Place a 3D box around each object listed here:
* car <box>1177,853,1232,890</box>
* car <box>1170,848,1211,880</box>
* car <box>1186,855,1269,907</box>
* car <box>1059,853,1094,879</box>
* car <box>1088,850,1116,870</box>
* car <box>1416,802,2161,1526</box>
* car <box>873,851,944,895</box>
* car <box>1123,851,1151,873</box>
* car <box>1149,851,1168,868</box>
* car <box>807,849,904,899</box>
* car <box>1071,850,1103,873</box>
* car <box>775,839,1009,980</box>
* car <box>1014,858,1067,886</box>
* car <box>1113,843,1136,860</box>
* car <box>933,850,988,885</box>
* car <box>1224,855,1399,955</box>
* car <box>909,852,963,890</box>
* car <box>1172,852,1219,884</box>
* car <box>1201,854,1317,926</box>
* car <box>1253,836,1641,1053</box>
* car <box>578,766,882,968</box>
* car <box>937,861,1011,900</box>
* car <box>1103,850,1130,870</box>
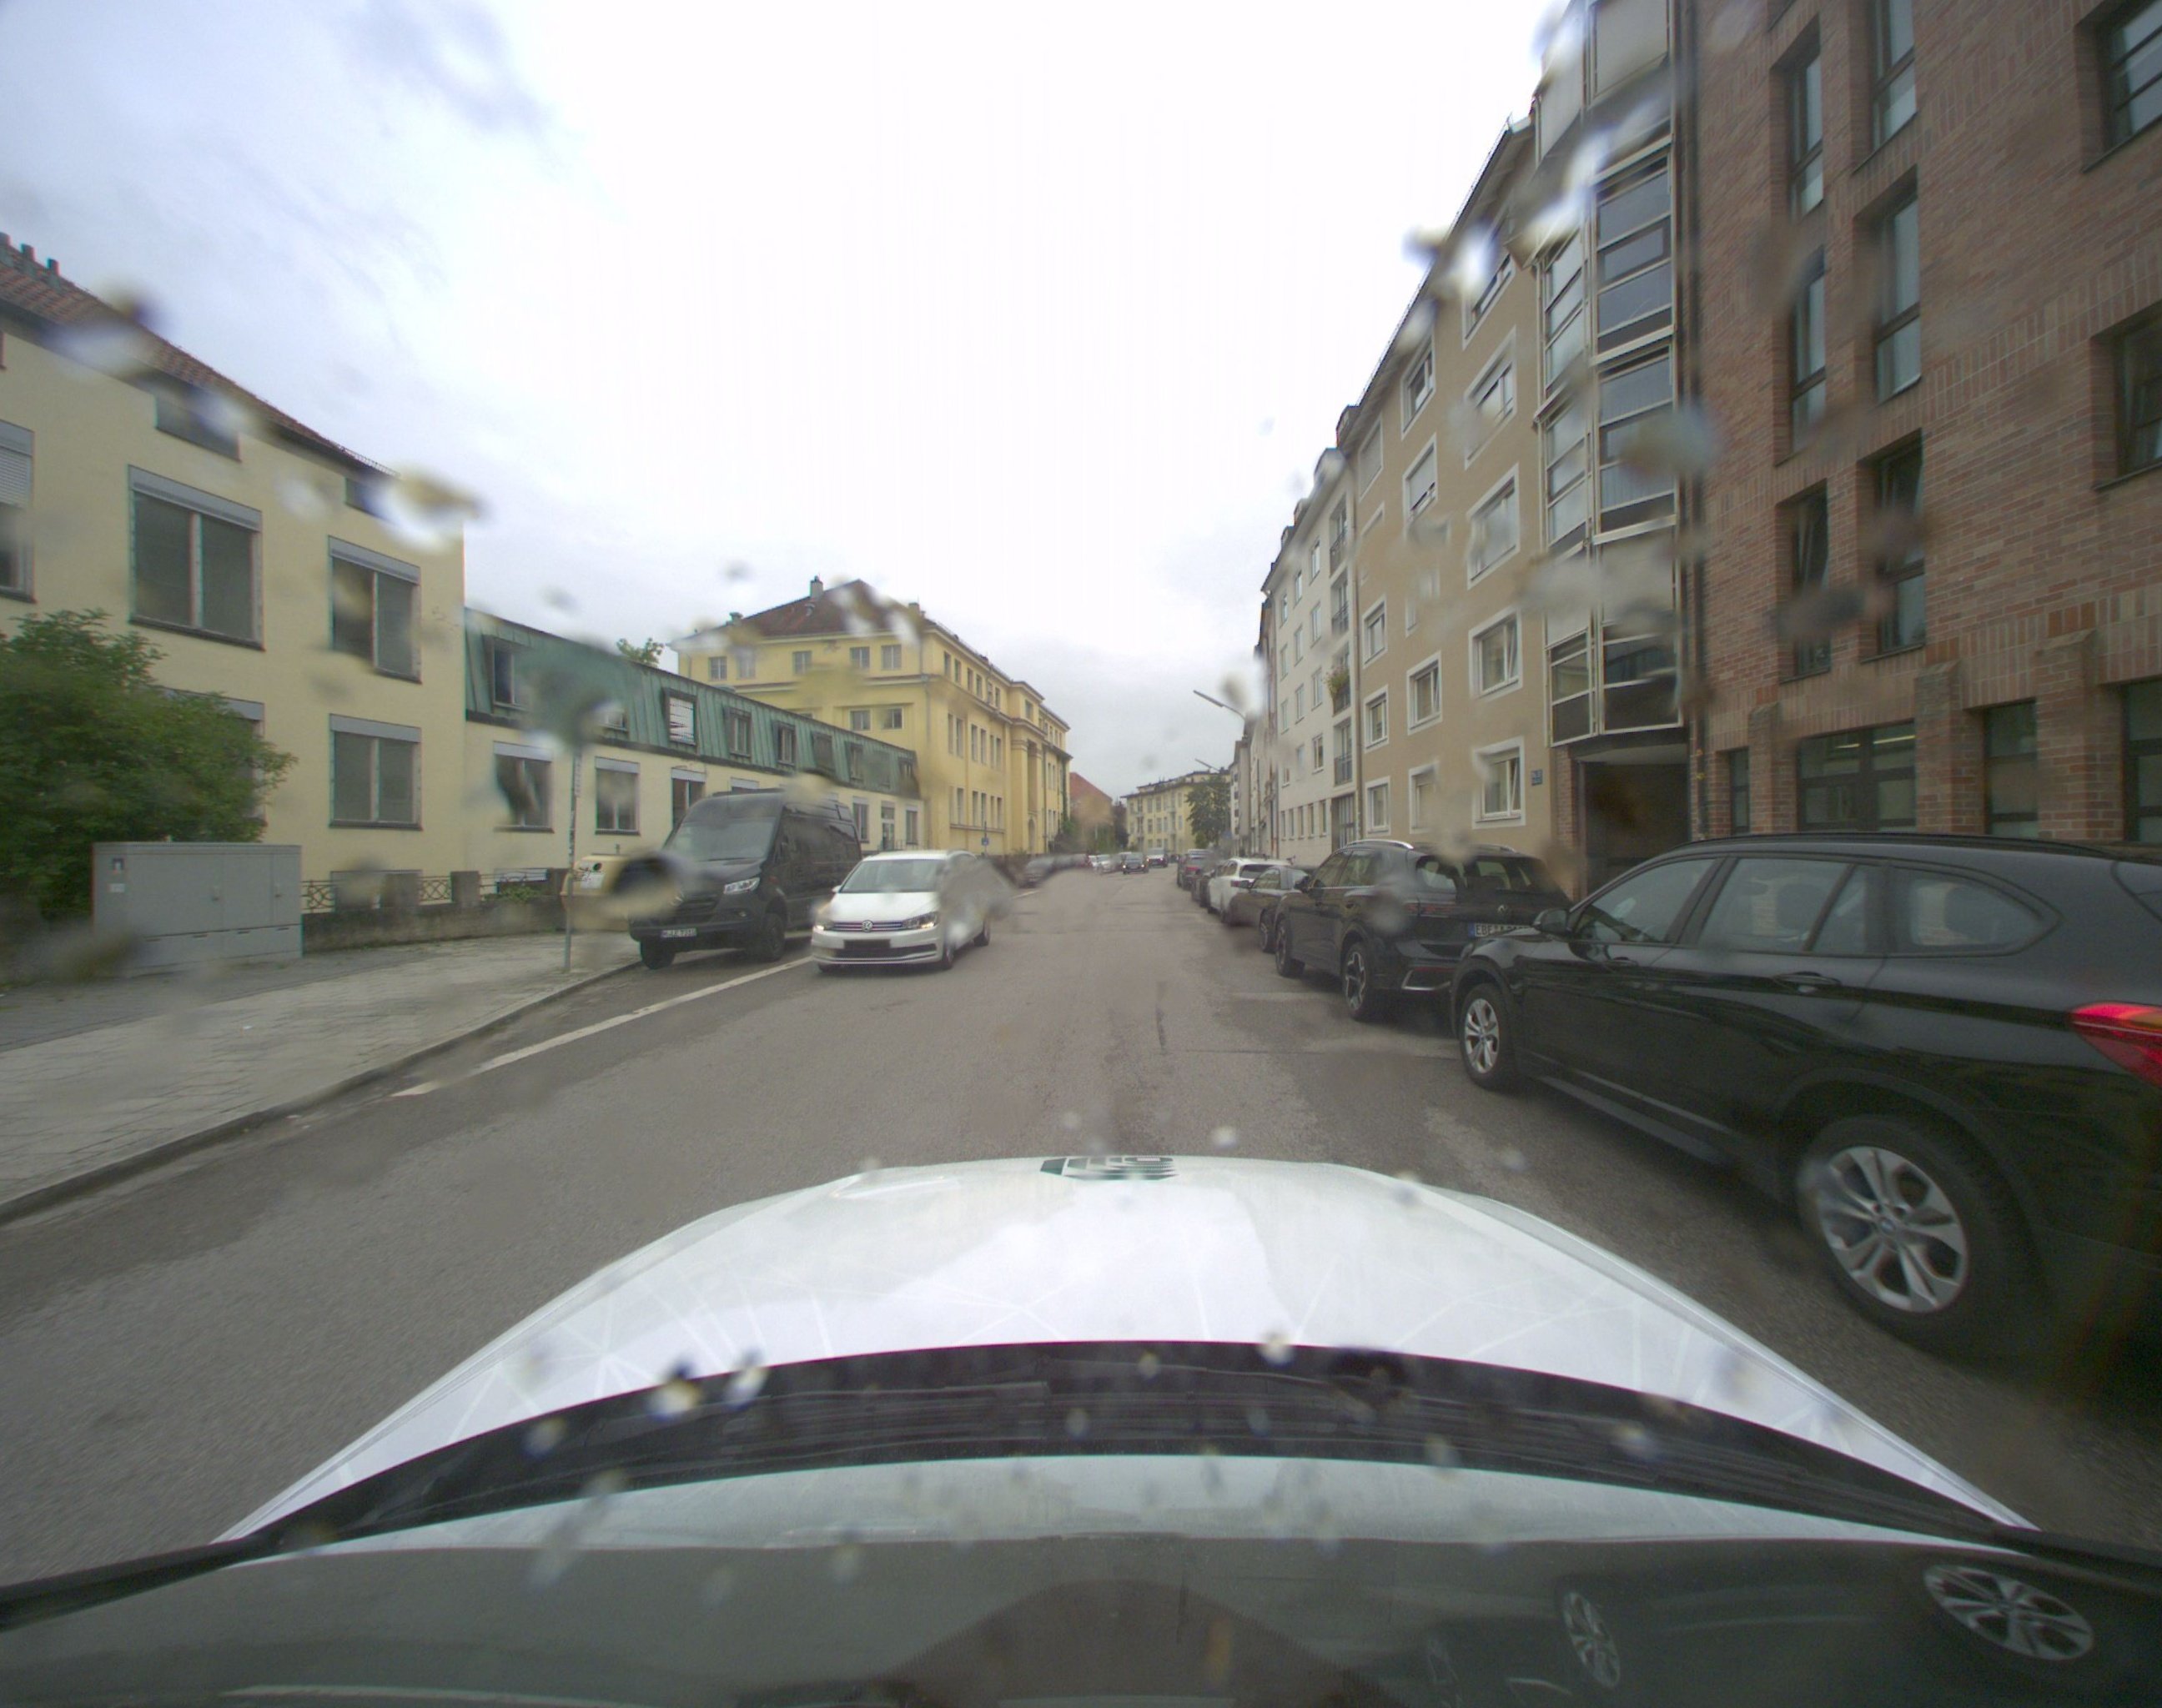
[{"bbox_3d":[5.032,0.671,33.701,1.879,1.410,4.435,1,0,3],"label":"car"},{"bbox_3d":[5.896,0.508,44.346,1.879,1.630,4.435,1,0,3],"label":"car"},{"bbox_3d":[4.370,0.753,24.852,1.880,1.410,4.433,1,0,2],"label":"car"},{"bbox_3d":[-0.250,0.687,50.128,1.688,1.444,3.516,1,1,7],"label":"car"},{"bbox_3d":[1.648,0.452,63.078,1.688,1.444,3.517,1,1,8],"label":"car"},{"bbox_3d":[3.331,0.649,3.772,1.824,1.601,4.266,1,1,0],"label":"car"},{"bbox_3d":[-7.395,0.769,35.203,1.709,1.660,3.759,1,1,10],"label":"car"},{"bbox_3d":[3.990,0.553,57.640,1.688,1.444,3.516,1,1,7],"label":"car"},{"bbox_3d":[7.283,0.468,76.277,1.688,1.444,3.516,1,1,7],"label":"car"},{"bbox_3d":[-8.388,0.683,30.677,1.981,1.686,4.012,1,1,10],"label":"car"},{"bbox_3d":[0.448,0.461,55.653,1.688,1.444,3.517,1,1,8],"label":"car"},{"bbox_3d":[-2.517,0.725,12.151,2.016,1.621,4.511,-3,-1,5],"label":"car"},{"bbox_3d":[-1.960,0.867,40.490,1.889,1.147,4.240,1,1,8],"label":"car"},{"bbox_3d":[4.198,-0.241,78.210,1.983,1.548,4.008,1,1,7],"label":"car"},{"bbox_3d":[-6.197,0.671,42.247,1.709,1.660,3.759,1,1,10],"label":"car"},{"bbox_3d":[3.715,0.742,13.959,1.880,1.322,4.276,1,1,1],"label":"car"},{"bbox_3d":[-6.850,0.750,38.696,1.595,1.660,2.817,1,1,10],"label":"car"},{"bbox_3d":[5.355,0.617,38.628,1.879,1.410,4.435,1,0,3],"label":"car"},{"bbox_3d":[4.061,0.753,19.397,1.880,1.475,4.746,1,0,2],"label":"car"},{"bbox_3d":[3.248,0.633,8.460,1.958,1.601,4.672,1,1,0],"label":"car"},{"bbox_3d":[-5.588,0.202,14.215,2.412,2.715,5.957,-2,-1,3],"label":"car"},{"bbox_3d":[-3.853,0.913,29.939,1.518,1.202,3.754,1,1,12],"label":"car"},{"bbox_3d":[3.007,0.476,68.659,1.983,1.548,4.008,1,1,7],"label":"car"}]
